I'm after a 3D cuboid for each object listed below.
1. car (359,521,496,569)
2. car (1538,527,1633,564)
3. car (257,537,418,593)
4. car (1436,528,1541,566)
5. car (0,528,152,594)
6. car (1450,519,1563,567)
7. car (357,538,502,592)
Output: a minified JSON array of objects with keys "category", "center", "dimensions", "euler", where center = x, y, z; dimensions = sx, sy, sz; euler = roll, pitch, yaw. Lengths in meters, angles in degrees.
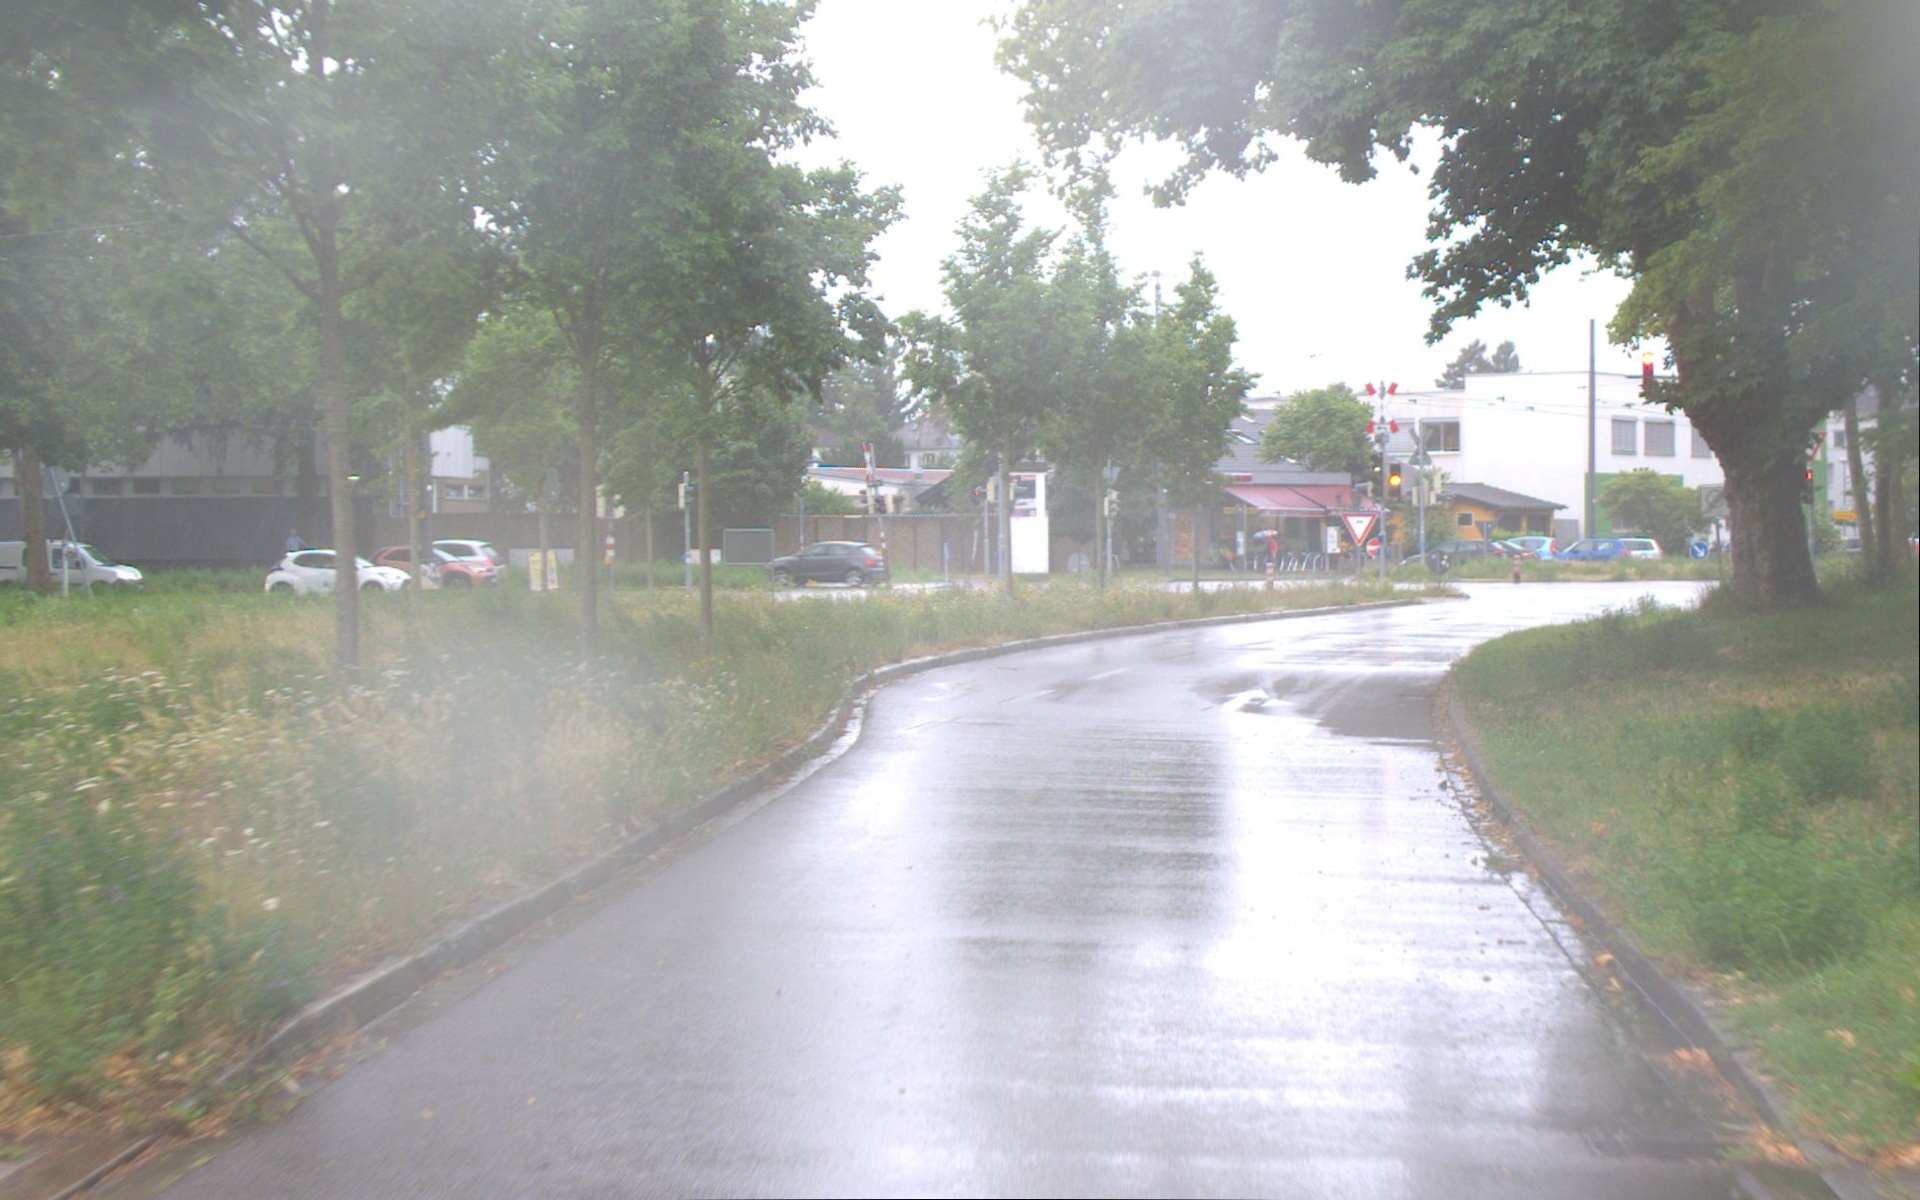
[{"category":"car","center":[-16.658,-1.729,107.702],"dimensions":[3.987,1.415,1.538],"euler":[-1,1,4]},{"category":"car","center":[25.728,-2.239,141.417],"dimensions":[3.752,1.437,1.762],"euler":[-1,1,13]},{"category":"car","center":[-17.227,-0.961,95.267],"dimensions":[4.066,1.494,1.652],"euler":[-1,0,7]},{"category":"car","center":[20.641,-2.079,134.285],"dimensions":[3.754,1.437,1.761],"euler":[0,1,22]},{"category":"car","center":[-25.012,-1.111,96.520],"dimensions":[4.210,1.790,1.652],"euler":[0,2,5]},{"category":"car","center":[21.864,-2.258,137.505],"dimensions":[4.140,1.853,1.671],"euler":[0,1,25]},{"category":"car","center":[-15.242,-1.005,98.865],"dimensions":[3.819,1.494,1.652],"euler":[-1,0,7]}]
